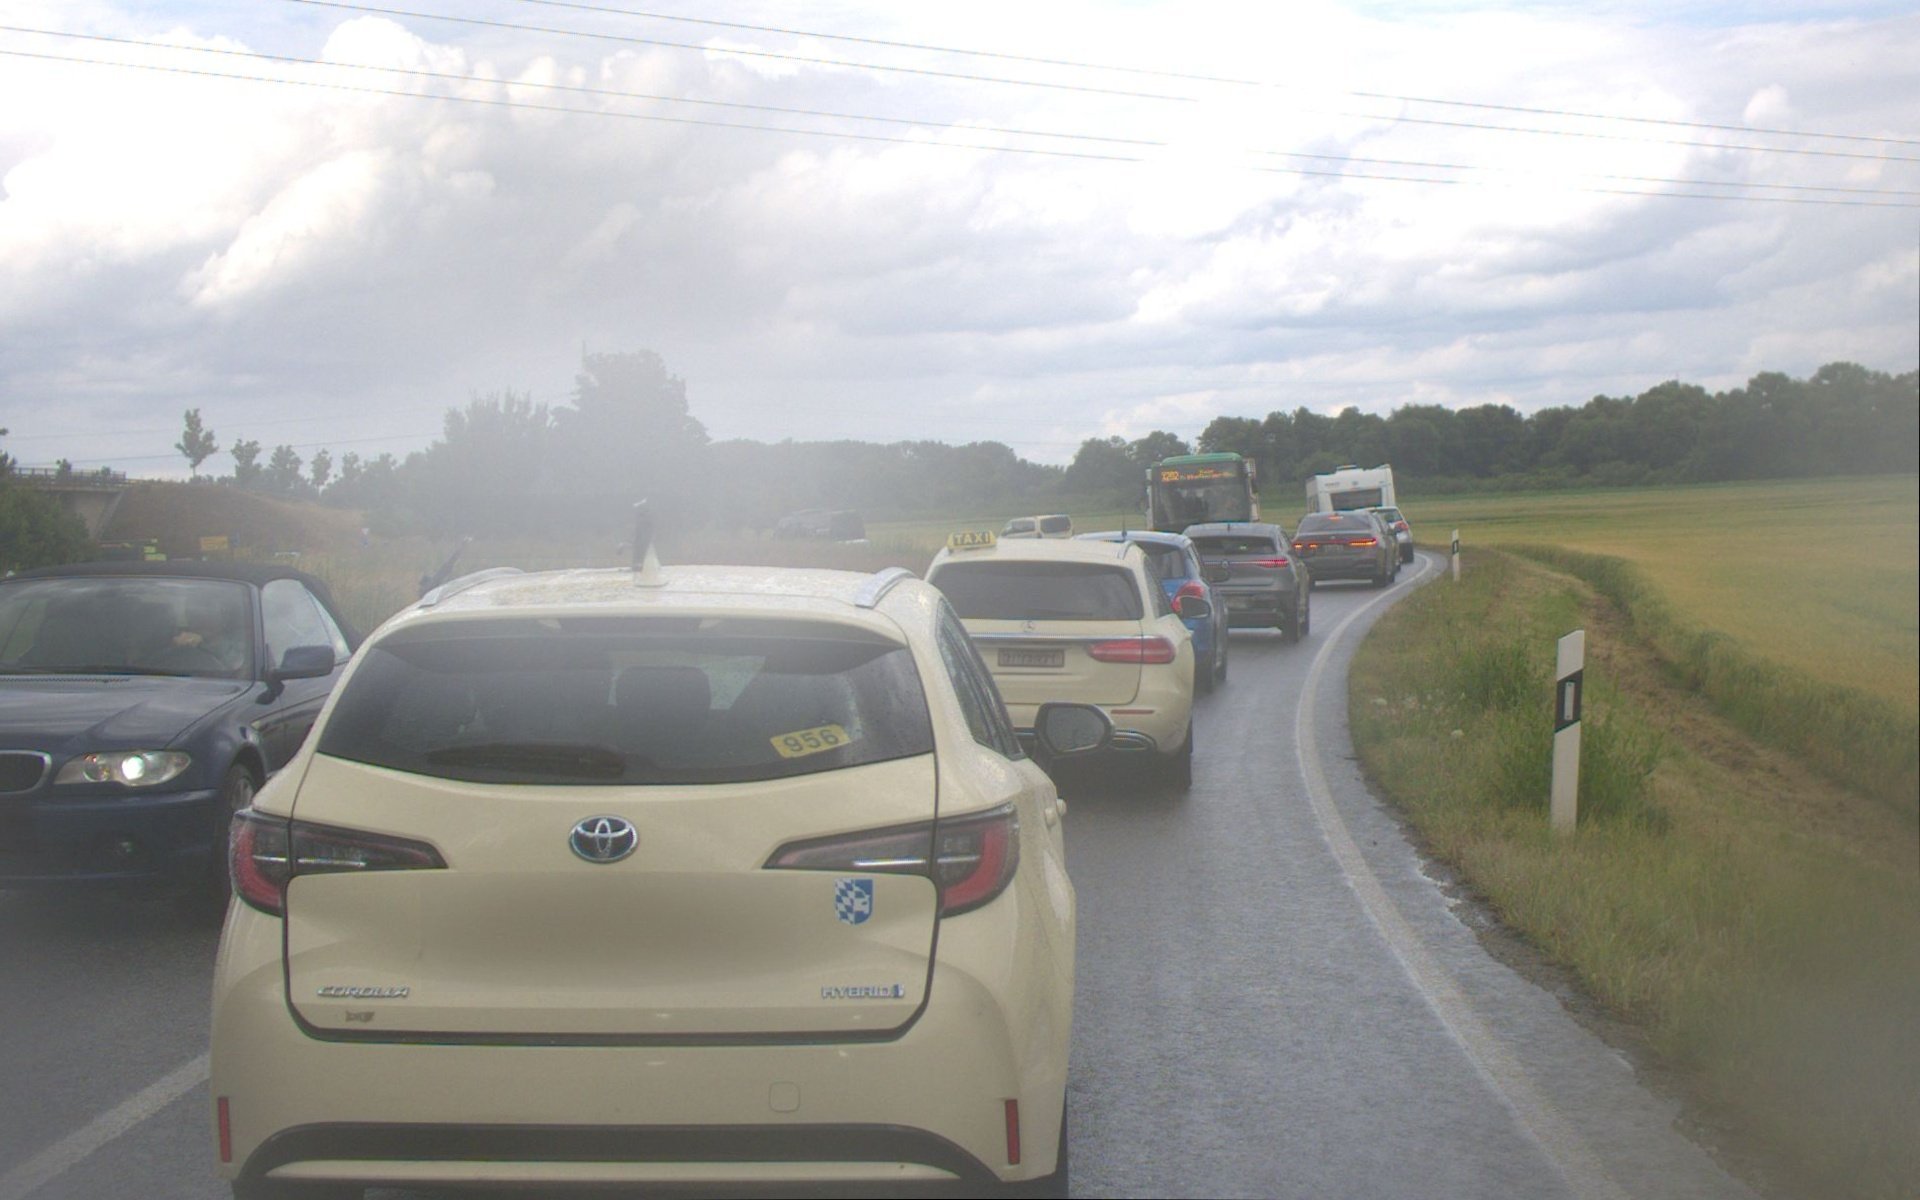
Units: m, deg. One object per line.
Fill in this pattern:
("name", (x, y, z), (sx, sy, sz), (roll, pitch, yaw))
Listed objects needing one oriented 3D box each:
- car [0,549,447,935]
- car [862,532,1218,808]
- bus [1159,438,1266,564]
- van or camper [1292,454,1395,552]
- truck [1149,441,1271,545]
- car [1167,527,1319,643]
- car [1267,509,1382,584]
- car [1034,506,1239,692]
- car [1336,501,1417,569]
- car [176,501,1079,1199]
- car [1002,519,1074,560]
("car", (-3.433, 0.501, 14.638), (1.630, 1.392, 4.319), (0, 0, 3))
("car", (0.607, 0.338, 21.199), (1.841, 1.487, 4.607), (0, 1, 6))
("bus", (7.087, -2.719, 95.537), (2.758, 3.286, 12.501), (0, 1, 5))
("van or camper", (11.712, -2.965, 105.511), (2.536, 2.886, 6.743), (0, 1, 1))
("truck", (9.696, -4.124, 134.125), (3.126, 3.839, 7.388), (0, 0, -9))
("car", (3.677, -0.190, 44.144), (1.613, 1.408, 3.737), (1, 0, 10))
("car", (7.173, -1.028, 67.321), (1.960, 1.408, 4.390), (1, 0, 10))
("car", (1.731, -0.019, 32.706), (1.613, 1.653, 3.737), (1, 0, 8))
("car", (10.887, -1.682, 90.007), (1.960, 1.723, 3.738), (0, 0, 5))
("car", (-0.550, 0.596, 8.169), (1.613, 1.557, 3.738), (0, 0, 3))
("car", (3.488, -2.716, 154.914), (1.882, 1.767, 4.161), (0, 0, -19))
